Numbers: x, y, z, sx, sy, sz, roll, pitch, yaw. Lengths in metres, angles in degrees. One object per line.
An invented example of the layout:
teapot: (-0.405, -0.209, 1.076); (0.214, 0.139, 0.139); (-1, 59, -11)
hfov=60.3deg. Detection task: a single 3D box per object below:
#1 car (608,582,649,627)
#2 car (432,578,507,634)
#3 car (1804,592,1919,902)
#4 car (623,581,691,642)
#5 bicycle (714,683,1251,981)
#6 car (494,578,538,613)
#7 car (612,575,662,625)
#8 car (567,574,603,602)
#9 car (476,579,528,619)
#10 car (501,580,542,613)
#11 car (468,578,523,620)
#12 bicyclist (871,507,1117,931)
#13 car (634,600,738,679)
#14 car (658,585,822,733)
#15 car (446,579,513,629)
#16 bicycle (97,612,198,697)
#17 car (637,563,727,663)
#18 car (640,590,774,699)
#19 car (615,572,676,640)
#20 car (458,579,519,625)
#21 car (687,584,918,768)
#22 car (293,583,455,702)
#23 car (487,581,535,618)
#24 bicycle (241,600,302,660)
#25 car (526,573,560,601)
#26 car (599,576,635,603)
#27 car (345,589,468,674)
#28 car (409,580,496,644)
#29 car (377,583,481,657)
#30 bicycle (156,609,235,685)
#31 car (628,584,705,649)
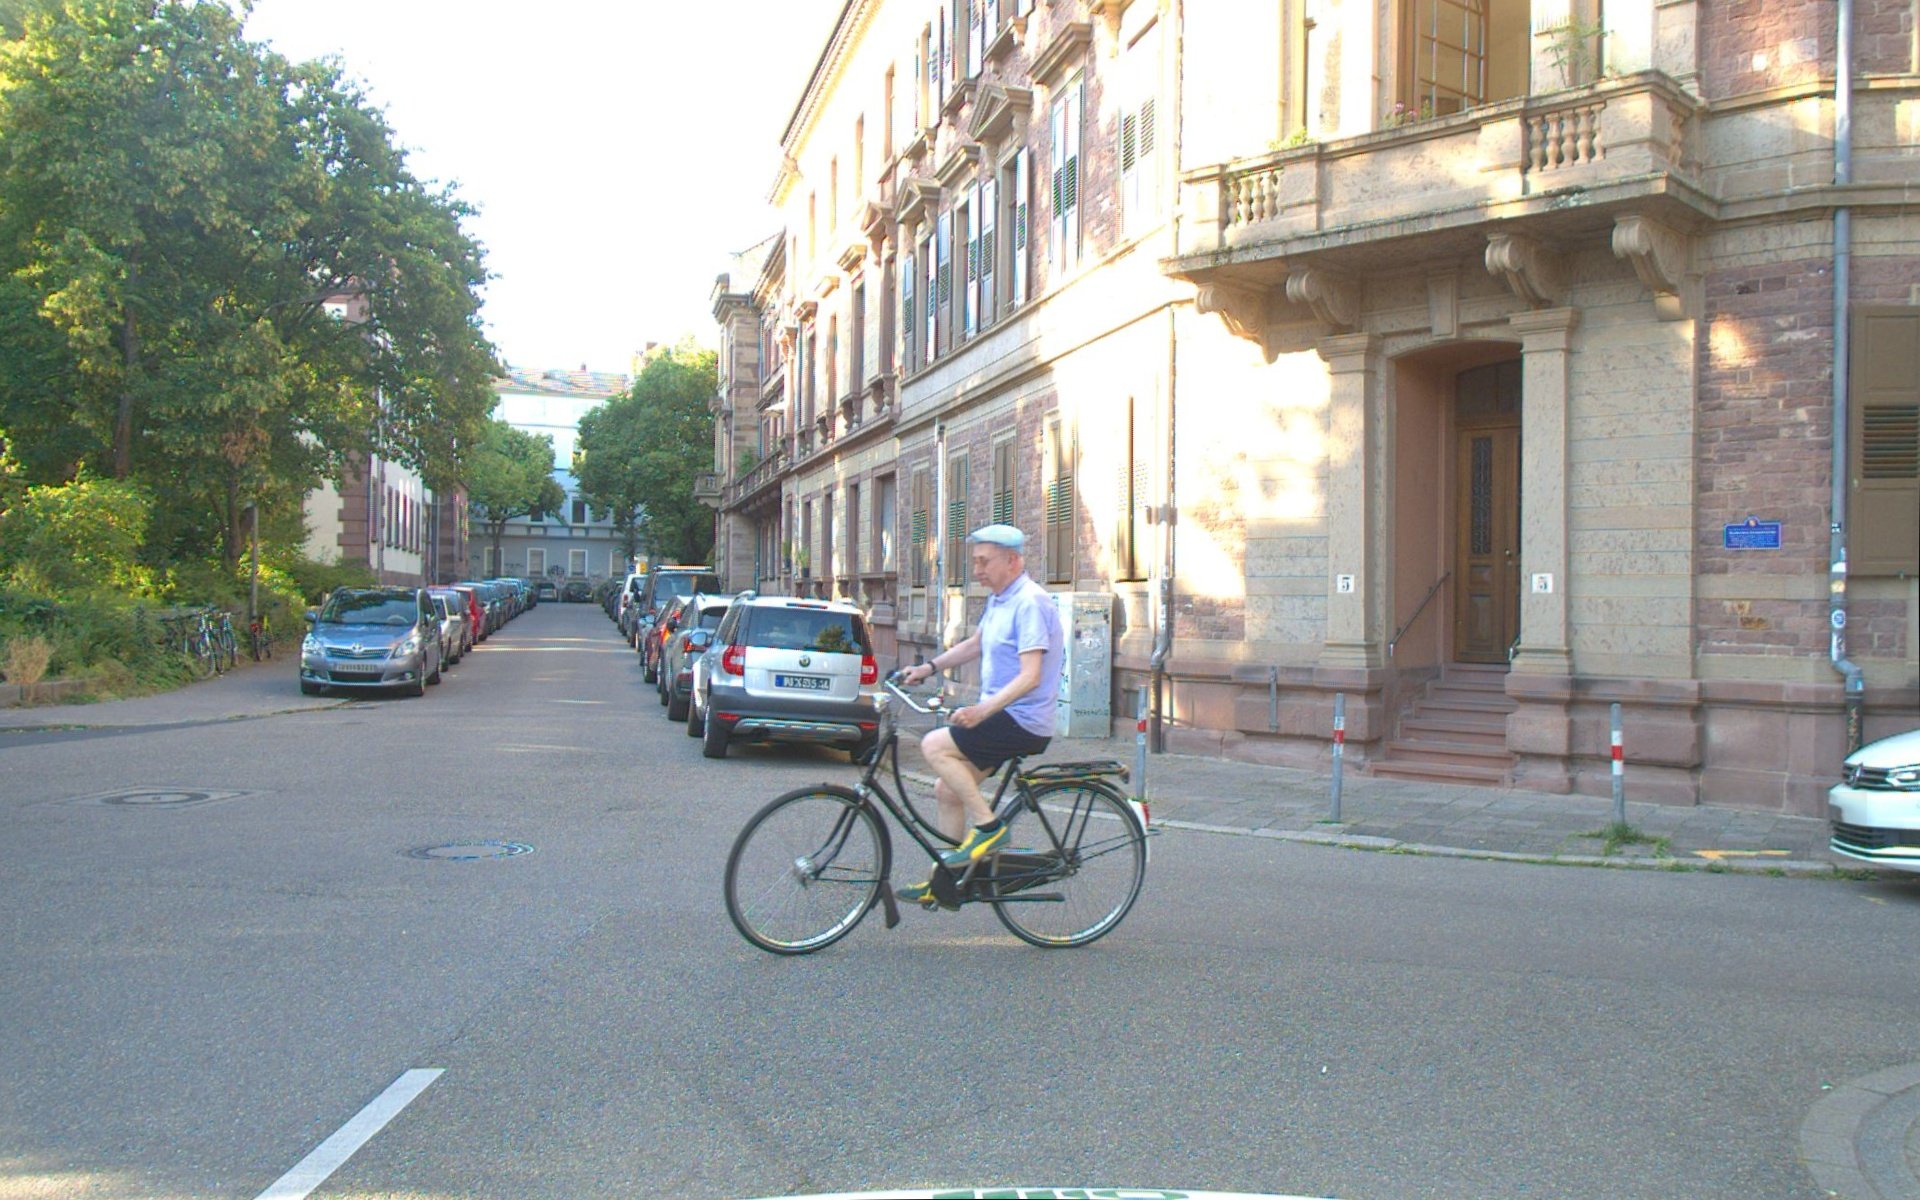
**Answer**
car: (-16.184, 0.210, 80.689); (1.767, 2.052, 3.942); (3, 0, -13)
car: (-14.882, 0.157, 50.321); (1.794, 1.526, 3.919); (4, -1, -12)
car: (7.455, 0.867, 9.420); (4.387, 1.678, 1.876); (1, -2, 13)
car: (-9.150, 0.314, 49.716); (1.767, 1.651, 3.942); (3, 0, -13)
bicycle: (0.073, 0.893, 6.727); (2.079, 1.073, 0.699); (1, 0, -12)
car: (-21.700, -0.221, 80.997); (1.794, 1.526, 3.919); (4, -1, -12)
car: (-12.977, -0.010, 66.279); (1.767, 1.871, 3.942); (3, 0, -13)
car: (-25.970, -0.796, 114.474); (1.963, 1.713, 3.978); (2, -2, -18)
car: (-19.376, -0.067, 70.090); (1.794, 1.526, 3.919); (4, -1, -12)
car: (-22.760, -0.182, 85.971); (1.794, 1.526, 3.919); (4, -1, -12)
car: (-18.502, -0.051, 66.044); (1.794, 1.526, 3.919); (4, -1, -12)
bicyclist: (0.120, 0.458, 6.742); (0.856, 1.616, 0.699); (1, 0, -12)
car: (-5.529, 0.744, 33.083); (1.767, 1.368, 3.942); (4, 0, -13)
car: (-3.153, 0.735, 22.995); (1.794, 1.753, 4.529); (4, -1, -12)
car: (-16.117, 0.122, 55.658); (1.794, 1.526, 3.919); (4, -1, -12)
bicycle: (-11.576, 0.745, 23.646); (0.586, 1.120, 2.620); (1, 0, -11)
car: (-6.566, 0.280, 38.782); (1.767, 2.108, 3.942); (3, 0, -13)
car: (-4.410, 0.701, 28.401); (1.768, 1.642, 3.939); (4, 0, -15)
car: (-10.538, 0.190, 55.238); (1.767, 2.108, 3.942); (3, 0, -13)
car: (-17.104, 0.059, 60.163); (1.794, 1.526, 3.919); (4, -1, -12)
car: (-1.850, 0.752, 18.104); (1.883, 1.685, 4.172); (4, -1, -13)
car: (-9.226, 0.615, 26.353); (1.794, 1.643, 4.278); (4, -1, -12)
car: (-20.349, -0.034, 75.055); (1.794, 1.526, 3.919); (4, -1, -12)
bicycle: (-13.561, 0.565, 32.636); (0.586, 1.120, 2.620); (1, 0, -11)
car: (-28.633, -0.898, 113.445); (1.963, 1.713, 3.978); (2, -2, -18)
car: (-24.013, -0.708, 115.603); (1.963, 1.713, 3.978); (2, -2, -18)
car: (-10.888, 0.583, 32.750); (1.794, 1.472, 3.919); (4, -1, -12)
car: (-13.575, 0.305, 44.411); (1.794, 1.526, 3.919); (4, -1, -12)
car: (-12.183, 0.426, 38.148); (1.794, 1.503, 3.919); (4, -1, -12)
bicycle: (-12.119, 0.713, 26.303); (0.586, 1.120, 2.619); (1, 0, -13)
car: (-7.858, 0.419, 44.056); (1.767, 1.550, 3.942); (3, 0, -13)
